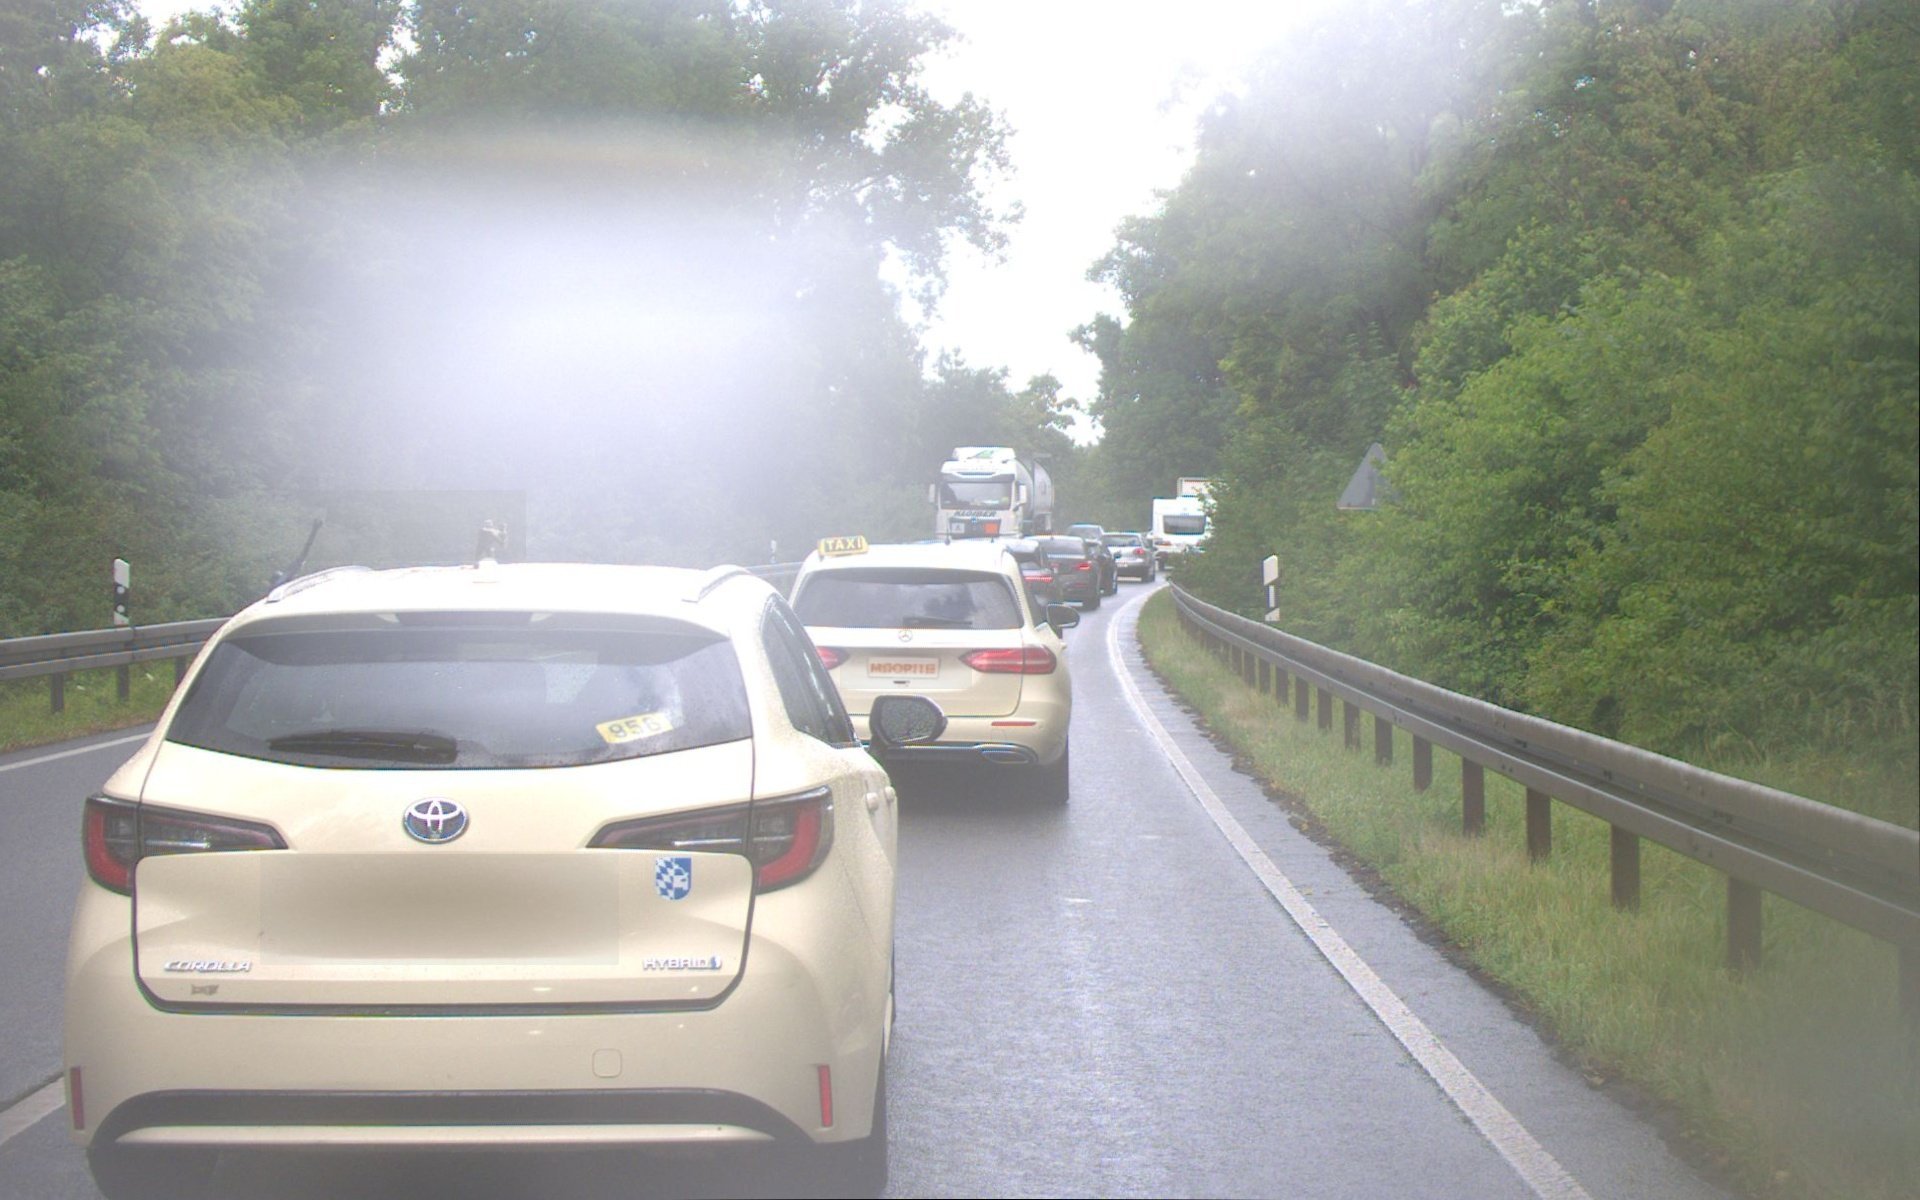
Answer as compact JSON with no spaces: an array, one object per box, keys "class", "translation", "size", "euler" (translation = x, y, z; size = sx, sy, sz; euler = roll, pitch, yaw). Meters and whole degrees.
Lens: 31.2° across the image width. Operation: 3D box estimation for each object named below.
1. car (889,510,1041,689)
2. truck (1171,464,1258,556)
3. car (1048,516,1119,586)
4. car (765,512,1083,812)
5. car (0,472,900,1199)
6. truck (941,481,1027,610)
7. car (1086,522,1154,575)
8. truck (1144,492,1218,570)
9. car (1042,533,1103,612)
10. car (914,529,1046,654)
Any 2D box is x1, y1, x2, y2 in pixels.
[{"class":"car","translation":[0.070,-0.019,31.535],"size":[1.300,1.541,3.260],"euler":[1,1,1]},{"class":"truck","translation":[10.672,-3.720,143.764],"size":[3.108,3.668,6.998],"euler":[1,1,8]},{"class":"car","translation":[2.951,-1.163,82.055],"size":[1.616,1.607,3.621],"euler":[1,1,2]},{"class":"car","translation":[-0.172,0.310,20.253],"size":[1.667,1.575,3.892],"euler":[1,1,1]},{"class":"car","translation":[-1.089,0.532,8.707],"size":[1.833,1.575,4.157],"euler":[1,1,-1]},{"class":"truck","translation":[0.698,-1.664,105.644],"size":[2.536,3.812,5.245],"euler":[1,0,0]},{"class":"car","translation":[4.789,-1.528,102.498],"size":[1.770,1.541,3.813],"euler":[1,1,6]},{"class":"truck","translation":[8.017,-2.474,125.136],"size":[2.550,2.704,7.534],"euler":[1,1,3]},{"class":"car","translation":[2.265,-0.559,68.813],"size":[1.167,1.541,2.604],"euler":[1,1,2]},{"class":"car","translation":[0.255,-0.141,44.220],"size":[1.611,1.541,3.814],"euler":[0,1,0]}]
